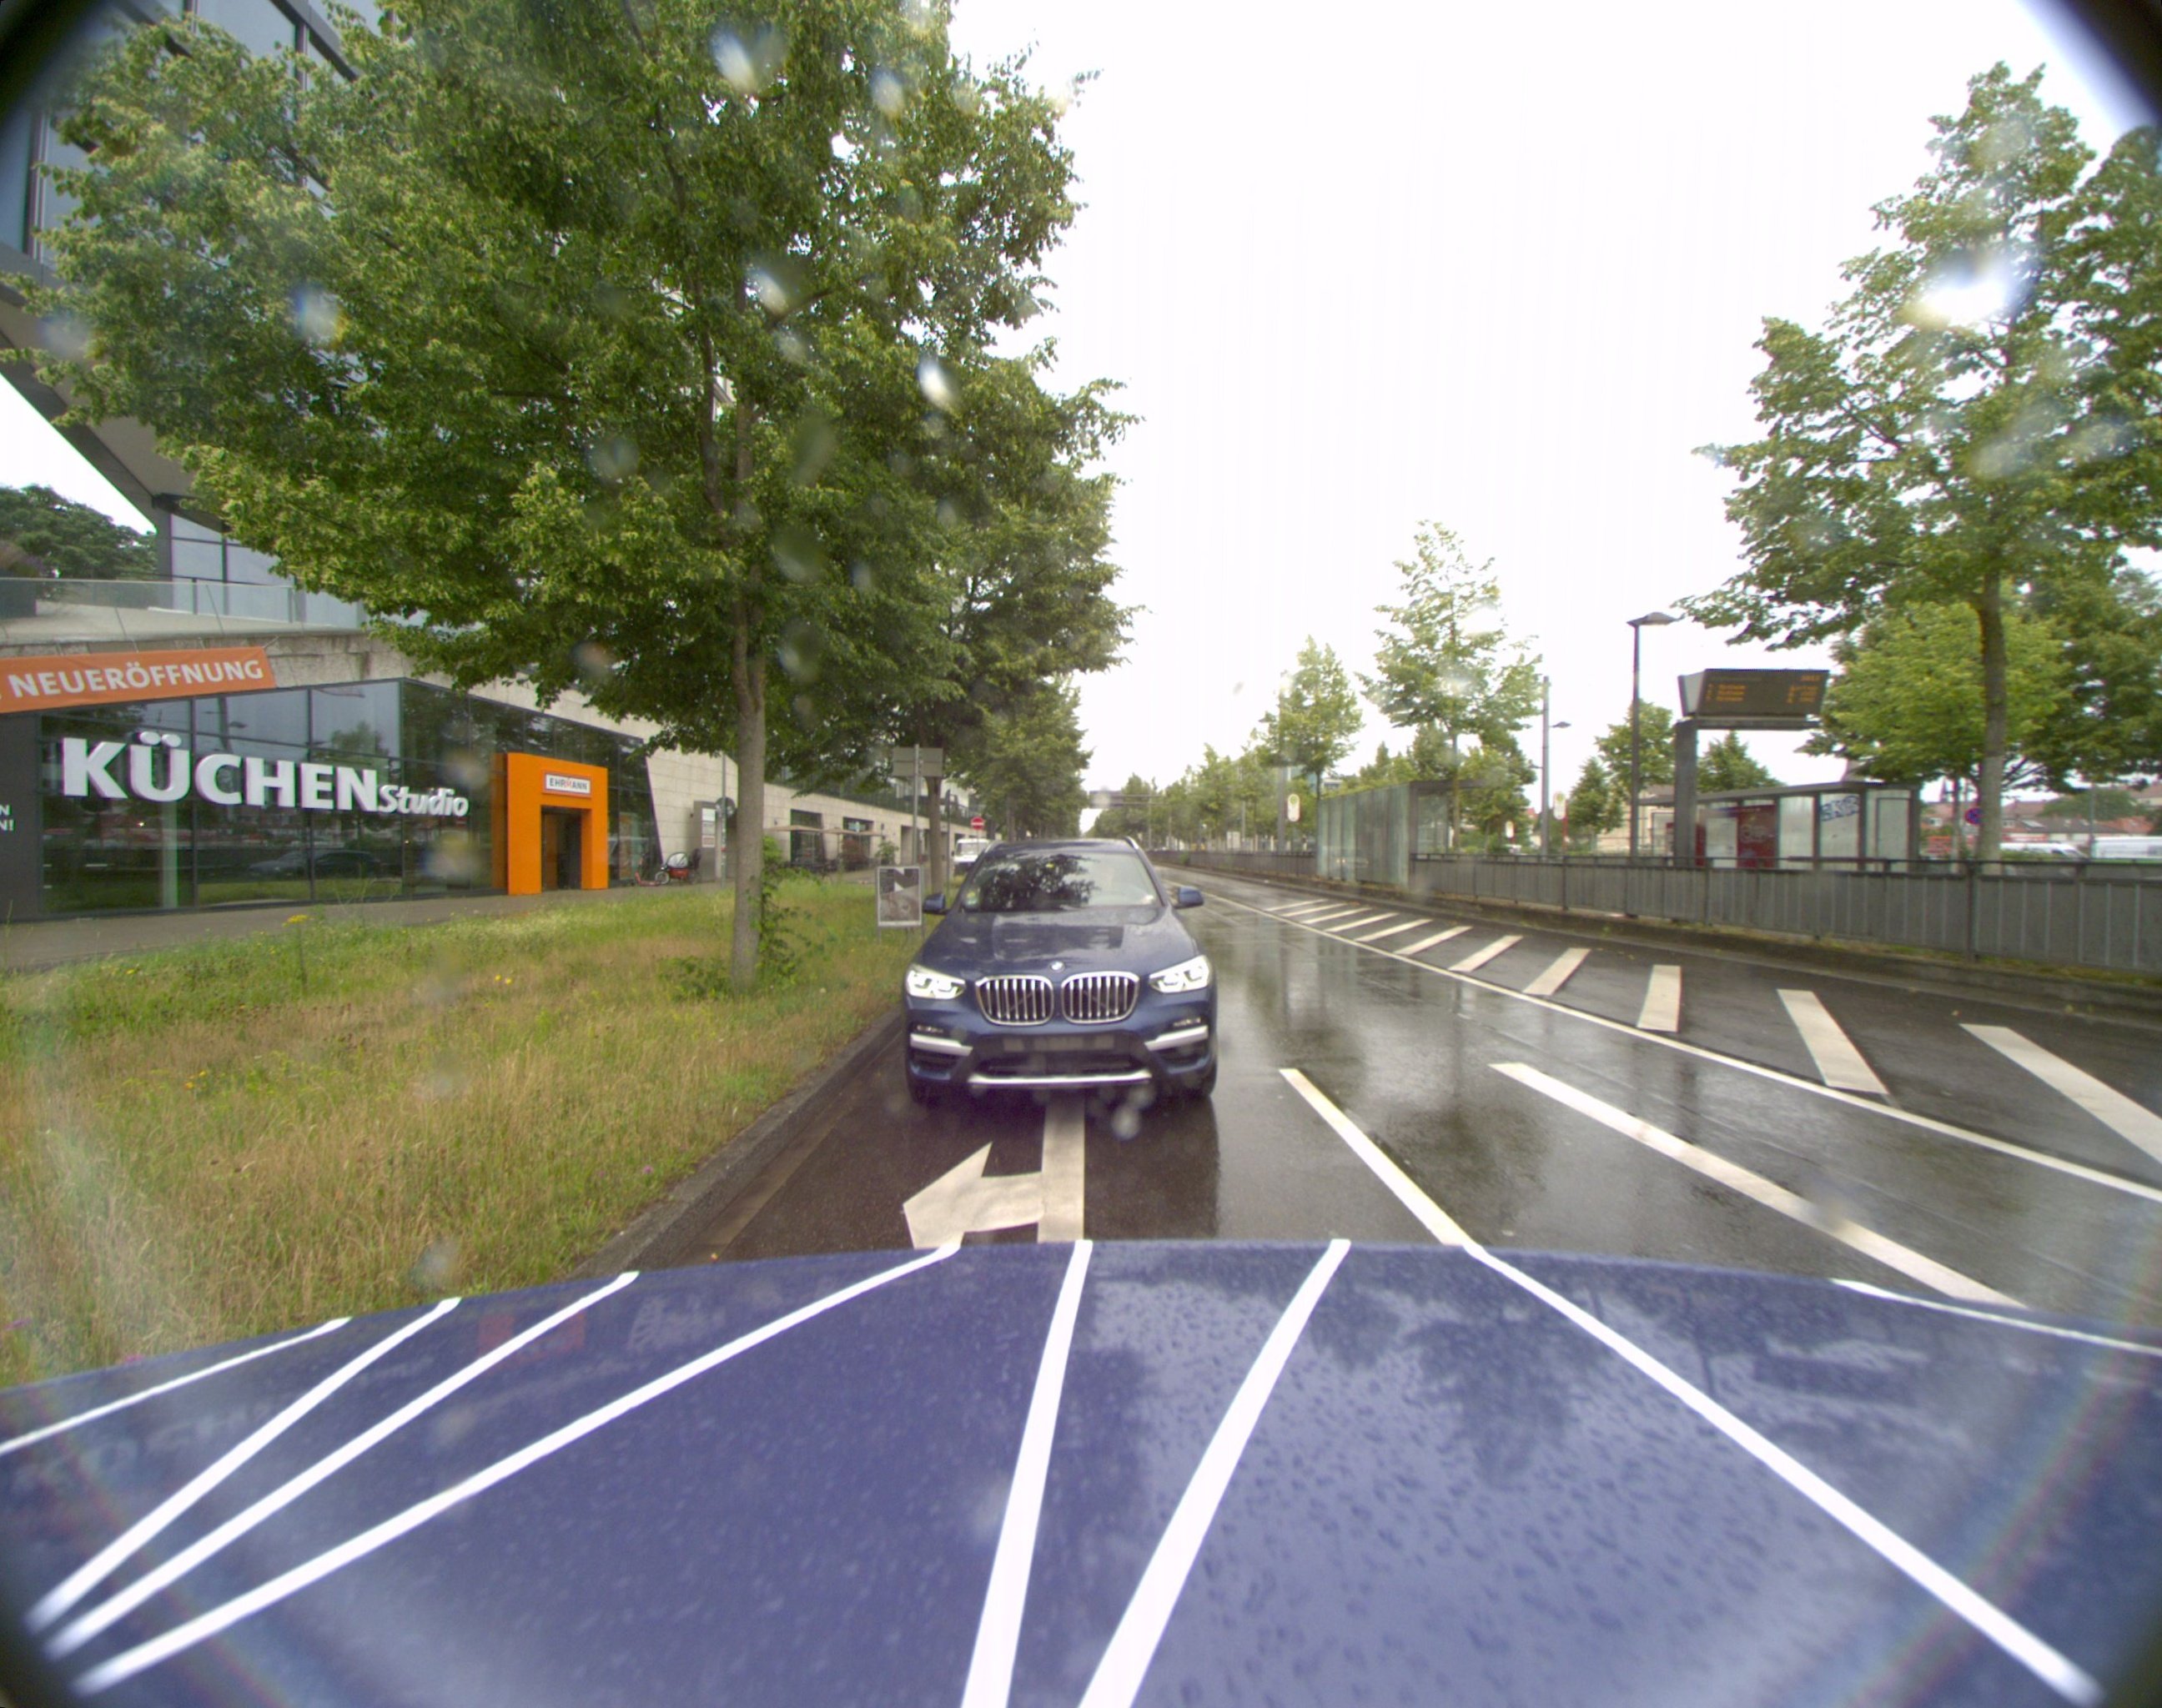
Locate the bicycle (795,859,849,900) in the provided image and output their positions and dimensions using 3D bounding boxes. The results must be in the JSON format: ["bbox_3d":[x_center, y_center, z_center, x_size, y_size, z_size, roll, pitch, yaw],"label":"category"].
[{"bbox_3d":[-8.613,0.855,25.281,1.843,1.338,0.533,-1,0,26],"label":"bicycle"}]

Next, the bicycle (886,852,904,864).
[{"bbox_3d":[-15.186,0.366,61.996,0.396,0.940,2.024,-4,2,-45],"label":"bicycle"}]

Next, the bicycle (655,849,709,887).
[{"bbox_3d":[-15.454,0.519,29.511,0.734,1.394,2.425,1,0,1],"label":"bicycle"}]

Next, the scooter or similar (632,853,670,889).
[{"bbox_3d":[-15.652,0.613,27.678,0.342,1.221,1.242,-2,2,19],"label":"scooter or similar"}]

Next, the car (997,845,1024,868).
[{"bbox_3d":[-5.723,0.151,62.212,1.746,1.749,4.847,-1,1,0],"label":"car"}]

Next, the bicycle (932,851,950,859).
[{"bbox_3d":[-15.979,0.090,86.662,2.029,0.940,0.395,1,1,-4],"label":"bicycle"}]

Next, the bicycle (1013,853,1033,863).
[{"bbox_3d":[-5.742,0.412,75.489,1.882,0.940,0.395,-2,2,-4],"label":"bicycle"}]

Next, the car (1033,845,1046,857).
[{"bbox_3d":[-6.046,-0.468,111.505,1.659,1.711,3.999,-2,1,0],"label":"car"}]

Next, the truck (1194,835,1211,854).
[{"bbox_3d":[26.211,-2.096,164.398,2.693,3.756,9.182,-2,1,3],"label":"truck"}]

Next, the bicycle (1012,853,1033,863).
[{"bbox_3d":[-5.904,0.400,76.410,2.040,0.940,0.395,-2,2,-4],"label":"bicycle"}]

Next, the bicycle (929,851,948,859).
[{"bbox_3d":[-15.993,0.098,85.409,2.029,0.940,0.395,1,1,-4],"label":"bicycle"}]

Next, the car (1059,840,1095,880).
[{"bbox_3d":[-0.204,0.316,46.396,1.998,2.232,3.999,-2,1,1],"label":"car"}]

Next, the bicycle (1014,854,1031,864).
[{"bbox_3d":[-5.658,0.461,73.652,1.649,0.940,0.395,-2,2,-4],"label":"bicycle"}]

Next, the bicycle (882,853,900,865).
[{"bbox_3d":[-15.344,0.386,61.287,0.396,0.940,2.024,-4,2,-45],"label":"bicycle"}]

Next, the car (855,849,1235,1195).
[{"bbox_3d":[-0.146,0.830,5.767,1.816,1.603,3.999,-2,1,1],"label":"car"}]

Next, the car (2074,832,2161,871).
[{"bbox_3d":[70.108,-0.174,49.411,1.999,2.448,6.744,-2,1,-4],"label":"car"}]

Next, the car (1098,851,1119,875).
[{"bbox_3d":[2.764,0.897,78.085,1.998,2.232,3.999,-2,1,1],"label":"car"}]

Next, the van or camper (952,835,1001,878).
[{"bbox_3d":[-5.867,0.090,43.374,2.030,2.279,5.458,-1,1,0],"label":"van or camper"}]

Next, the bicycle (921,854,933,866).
[{"bbox_3d":[-13.000,0.510,64.209,0.402,0.940,1.859,-1,1,8],"label":"bicycle"}]

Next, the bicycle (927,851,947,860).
[{"bbox_3d":[-15.839,0.133,83.542,2.029,0.940,0.395,1,1,-4],"label":"bicycle"}]

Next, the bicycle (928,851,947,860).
[{"bbox_3d":[-15.913,0.125,84.239,2.029,0.940,0.395,1,1,-4],"label":"bicycle"}]

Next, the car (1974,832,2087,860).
[{"bbox_3d":[84.238,-0.762,67.581,2.000,2.293,6.138,-3,1,-9],"label":"car"}]

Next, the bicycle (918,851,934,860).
[{"bbox_3d":[-16.291,0.187,79.671,1.657,0.940,0.347,1,2,19],"label":"bicycle"}]
